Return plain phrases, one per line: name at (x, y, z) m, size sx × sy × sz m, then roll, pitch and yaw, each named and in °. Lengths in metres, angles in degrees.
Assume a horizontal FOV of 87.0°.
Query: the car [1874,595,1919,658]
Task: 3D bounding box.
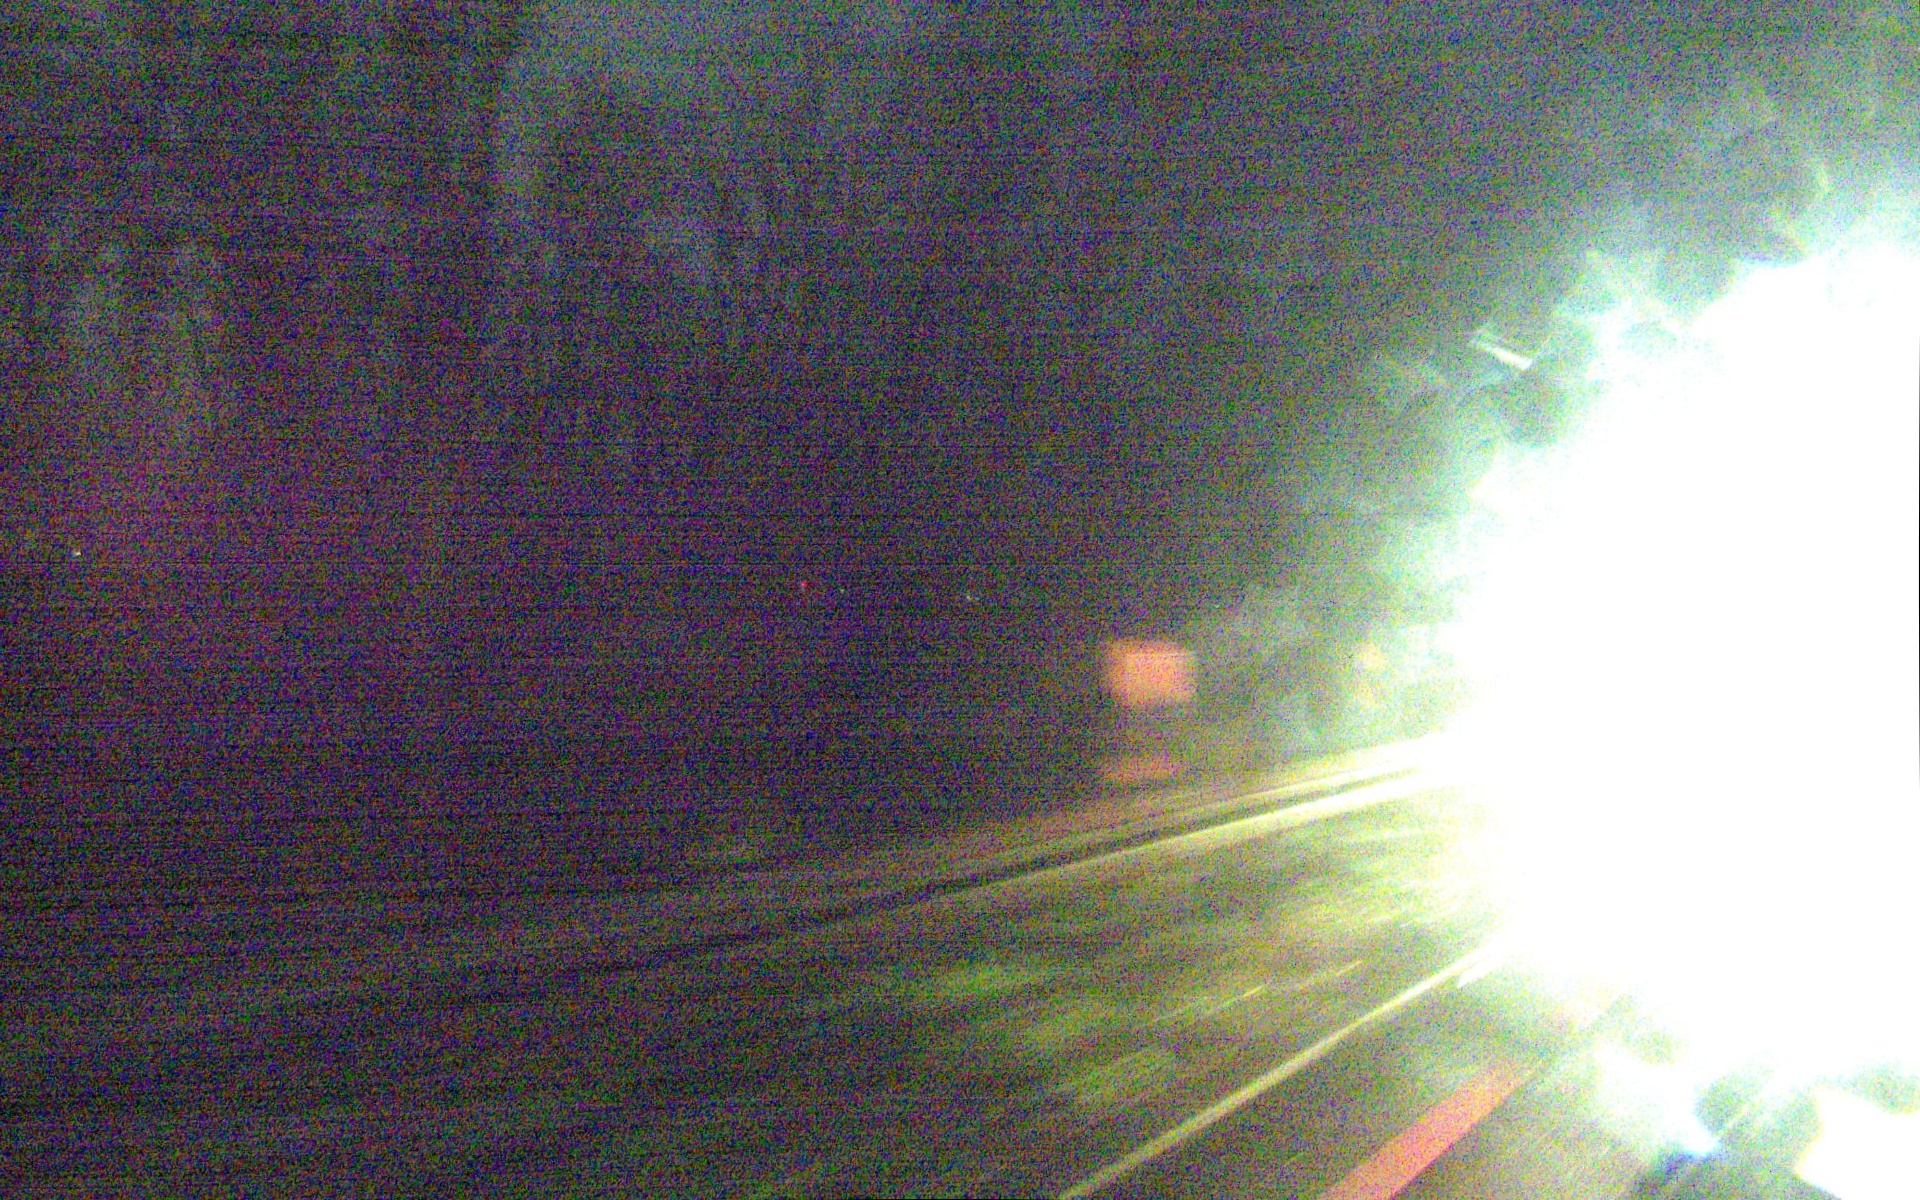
car at (24.651, 0.625, 25.693) m, size 1.840 × 1.467 × 3.822 m, roll -1°, pitch 1°, yaw 38°
